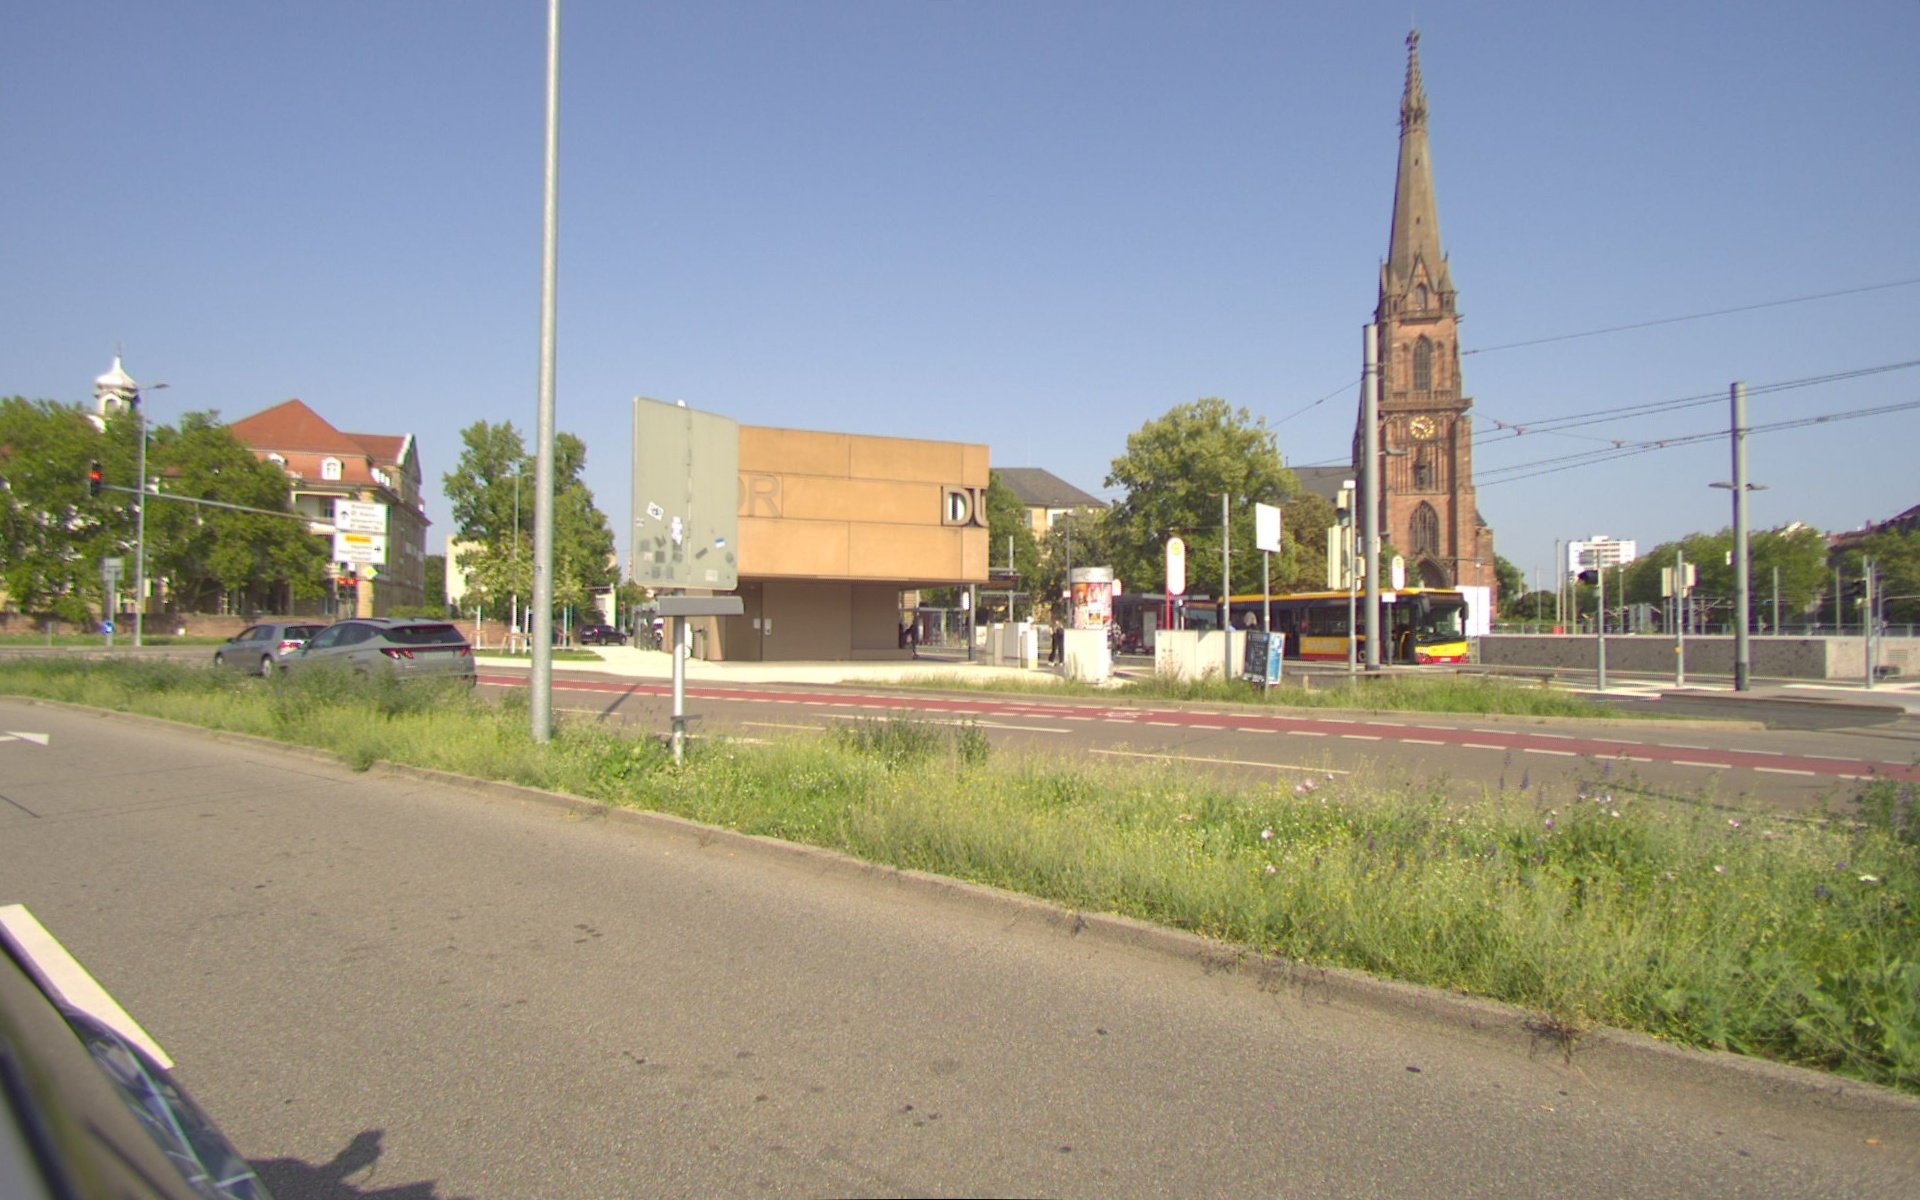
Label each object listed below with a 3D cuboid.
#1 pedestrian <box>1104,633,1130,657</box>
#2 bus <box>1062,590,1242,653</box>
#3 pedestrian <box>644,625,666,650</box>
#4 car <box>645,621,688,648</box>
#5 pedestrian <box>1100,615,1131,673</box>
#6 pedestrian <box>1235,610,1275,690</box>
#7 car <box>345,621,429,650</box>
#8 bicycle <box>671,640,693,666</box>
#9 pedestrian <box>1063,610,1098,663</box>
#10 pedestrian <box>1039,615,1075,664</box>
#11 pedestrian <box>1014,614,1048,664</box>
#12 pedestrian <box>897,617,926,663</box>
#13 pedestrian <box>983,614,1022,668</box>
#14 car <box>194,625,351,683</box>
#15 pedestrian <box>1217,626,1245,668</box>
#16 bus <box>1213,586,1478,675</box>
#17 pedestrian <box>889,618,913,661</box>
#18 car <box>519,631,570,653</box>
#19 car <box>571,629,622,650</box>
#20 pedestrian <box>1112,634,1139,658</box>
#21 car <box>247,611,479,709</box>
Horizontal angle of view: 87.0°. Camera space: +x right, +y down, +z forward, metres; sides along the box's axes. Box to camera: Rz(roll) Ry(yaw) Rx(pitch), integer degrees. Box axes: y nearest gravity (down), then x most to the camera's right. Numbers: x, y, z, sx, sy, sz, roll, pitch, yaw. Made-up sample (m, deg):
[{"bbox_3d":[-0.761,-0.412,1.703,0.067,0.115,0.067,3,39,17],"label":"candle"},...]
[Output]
[{"bbox_3d":[7.579,2.171,48.892,1.013,1.142,0.740,1,-2,-29],"label":"pedestrian"},{"bbox_3d":[9.881,1.220,54.546,3.242,3.000,12.837,1,-2,-21],"label":"bus"},{"bbox_3d":[-25.055,3.115,83.210,1.202,2.029,1.335,-1,-2,18],"label":"pedestrian"},{"bbox_3d":[-29.191,3.437,100.966,1.977,2.470,5.537,-1,0,9],"label":"car"},{"bbox_3d":[4.953,1.404,32.277,0.689,1.814,0.782,1,-2,-24],"label":"pedestrian"},{"bbox_3d":[6.877,1.150,23.597,0.699,1.814,0.771,-1,-2,33],"label":"pedestrian"},{"bbox_3d":[-33.365,2.057,59.085,1.978,1.646,4.358,0,-2,10],"label":"car"},{"bbox_3d":[-9.943,1.883,36.177,0.582,0.844,1.552,-2,-1,-20],"label":"bicycle"},{"bbox_3d":[4.003,1.191,33.459,0.862,1.718,0.980,-1,-2,28],"label":"pedestrian"},{"bbox_3d":[3.125,1.273,32.573,0.851,1.571,0.992,1,-2,-14],"label":"pedestrian"},{"bbox_3d":[2.447,1.339,34.807,0.862,1.685,0.980,-1,-2,28],"label":"pedestrian"},{"bbox_3d":[-1.844,1.528,38.542,0.851,1.718,0.734,1,-2,-25],"label":"pedestrian"},{"bbox_3d":[1.432,1.362,34.022,0.974,1.783,0.867,2,-3,-40],"label":"pedestrian"},{"bbox_3d":[-18.281,1.384,26.890,4.208,1.444,1.801,-1,-2,30],"label":"car"},{"bbox_3d":[11.631,2.008,43.428,0.816,1.752,0.838,1,-2,-22],"label":"pedestrian"},{"bbox_3d":[15.154,1.261,41.609,2.669,3.132,12.254,1,-2,-21],"label":"bus"},{"bbox_3d":[-2.433,1.630,41.750,0.707,1.751,0.859,1,-2,-23],"label":"pedestrian"},{"bbox_3d":[-30.094,3.019,73.466,1.608,1.509,3.837,0,-2,11],"label":"car"},{"bbox_3d":[-28.801,3.146,80.396,1.977,1.646,4.360,0,-2,9],"label":"car"},{"bbox_3d":[7.852,2.168,48.063,1.013,1.142,0.740,1,-2,-29],"label":"pedestrian"},{"bbox_3d":[-11.041,1.042,18.644,4.443,1.630,1.682,-1,-2,30],"label":"car"}]
